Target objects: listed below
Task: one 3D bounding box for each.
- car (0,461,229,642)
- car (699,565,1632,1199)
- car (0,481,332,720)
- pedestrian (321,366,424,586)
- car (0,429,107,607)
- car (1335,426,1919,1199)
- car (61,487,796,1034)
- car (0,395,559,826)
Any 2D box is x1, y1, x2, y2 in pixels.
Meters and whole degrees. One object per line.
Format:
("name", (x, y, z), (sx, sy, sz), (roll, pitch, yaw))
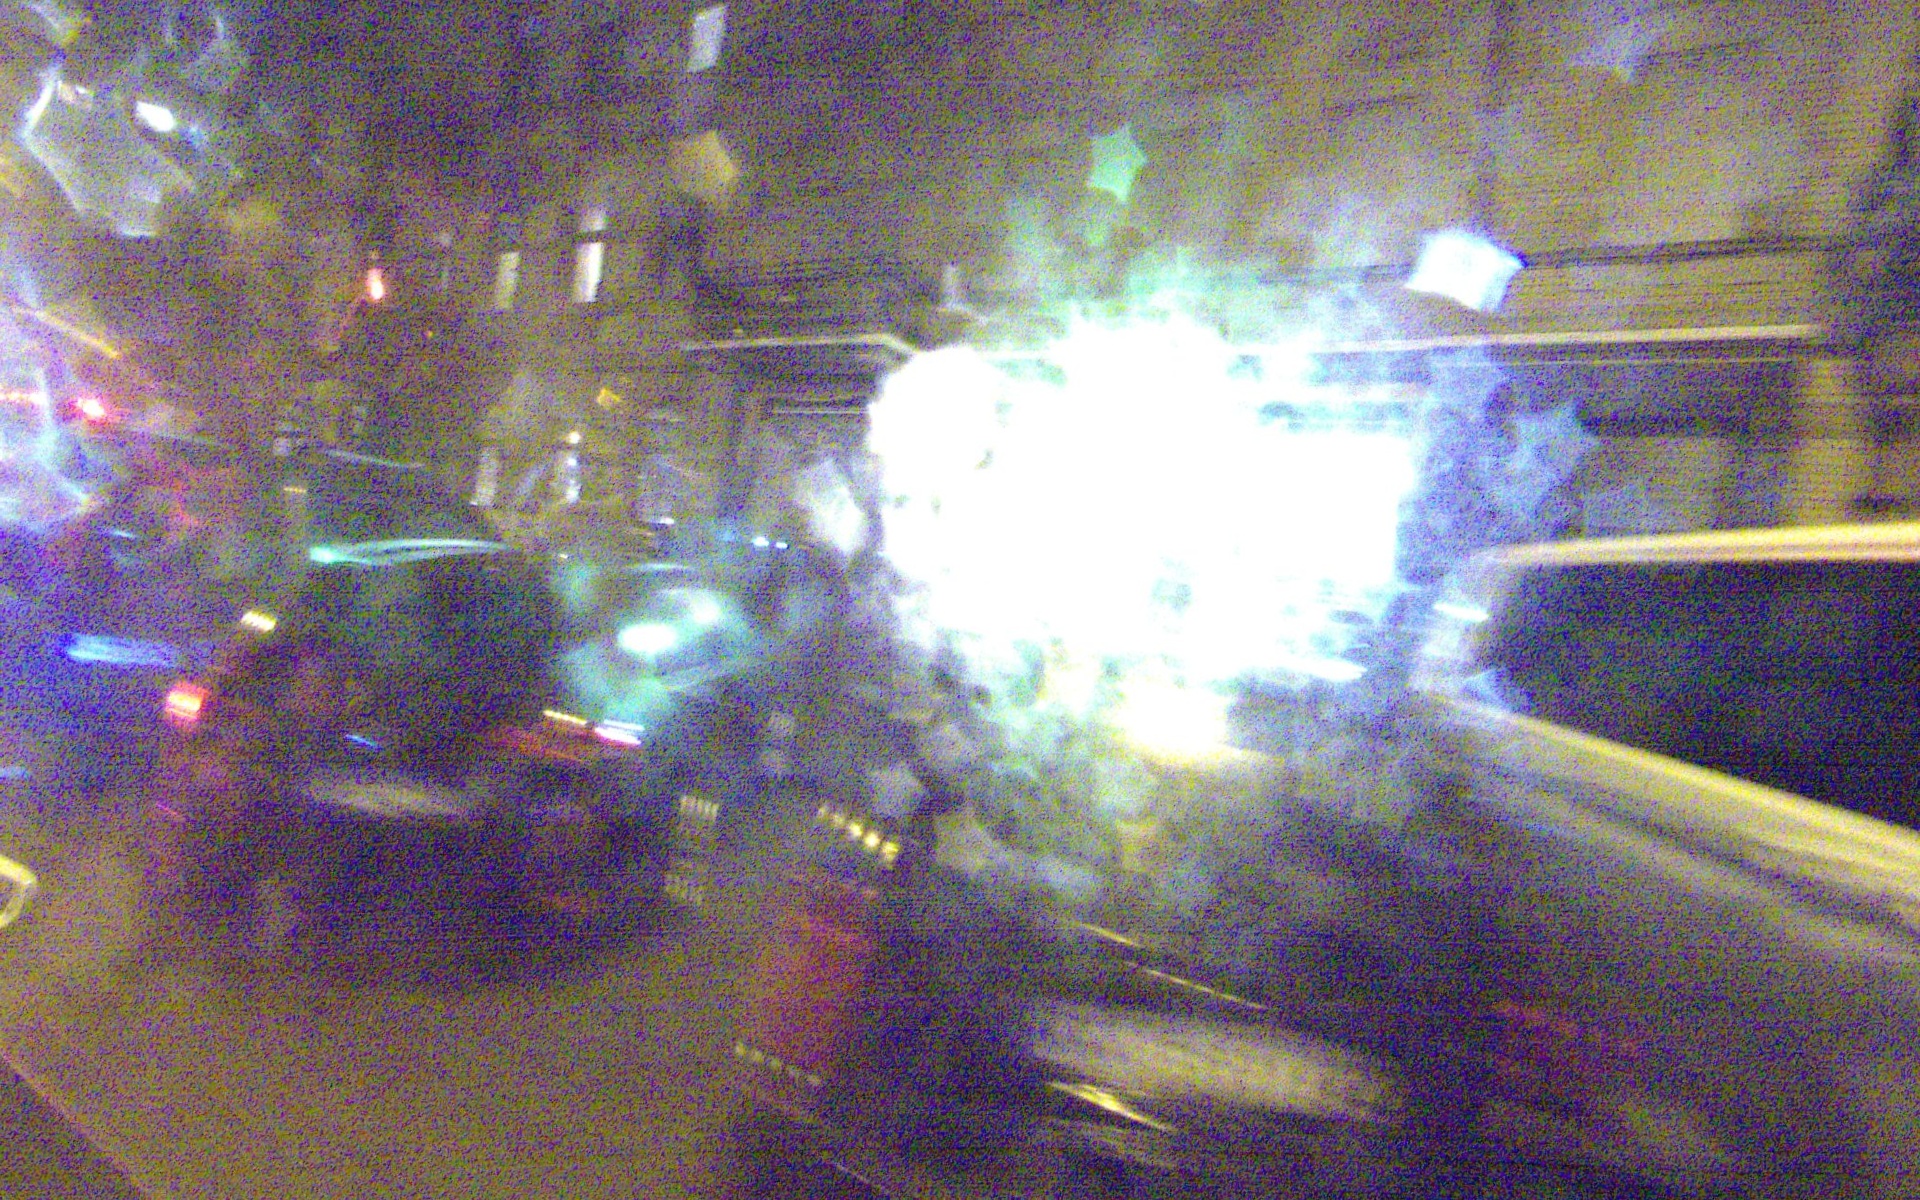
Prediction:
("car", (-9.544, -0.561, 9.909), (1.847, 1.609, 3.994), (6, 2, -4))
("car", (0.308, 0.738, 3.414), (1.423, 1.514, 3.512), (6, 1, 0))
("car", (-6.829, -0.115, 7.871), (1.642, 1.472, 3.561), (6, 1, -3))
("pedestrian", (-10.041, -2.098, 17.220), (0.778, 3.570, 0.893), (7, 0, 31))
("car", (-11.600, -0.992, 11.004), (1.577, 2.017, 3.560), (6, 1, -5))
("car", (2.821, 0.816, 2.207), (2.028, 2.074, 4.800), (8, 0, 1))
("car", (-1.876, 0.461, 4.803), (1.695, 1.504, 3.561), (6, 1, -4))
("car", (-4.128, -0.005, 6.498), (1.695, 1.864, 3.744), (6, 1, -5))
